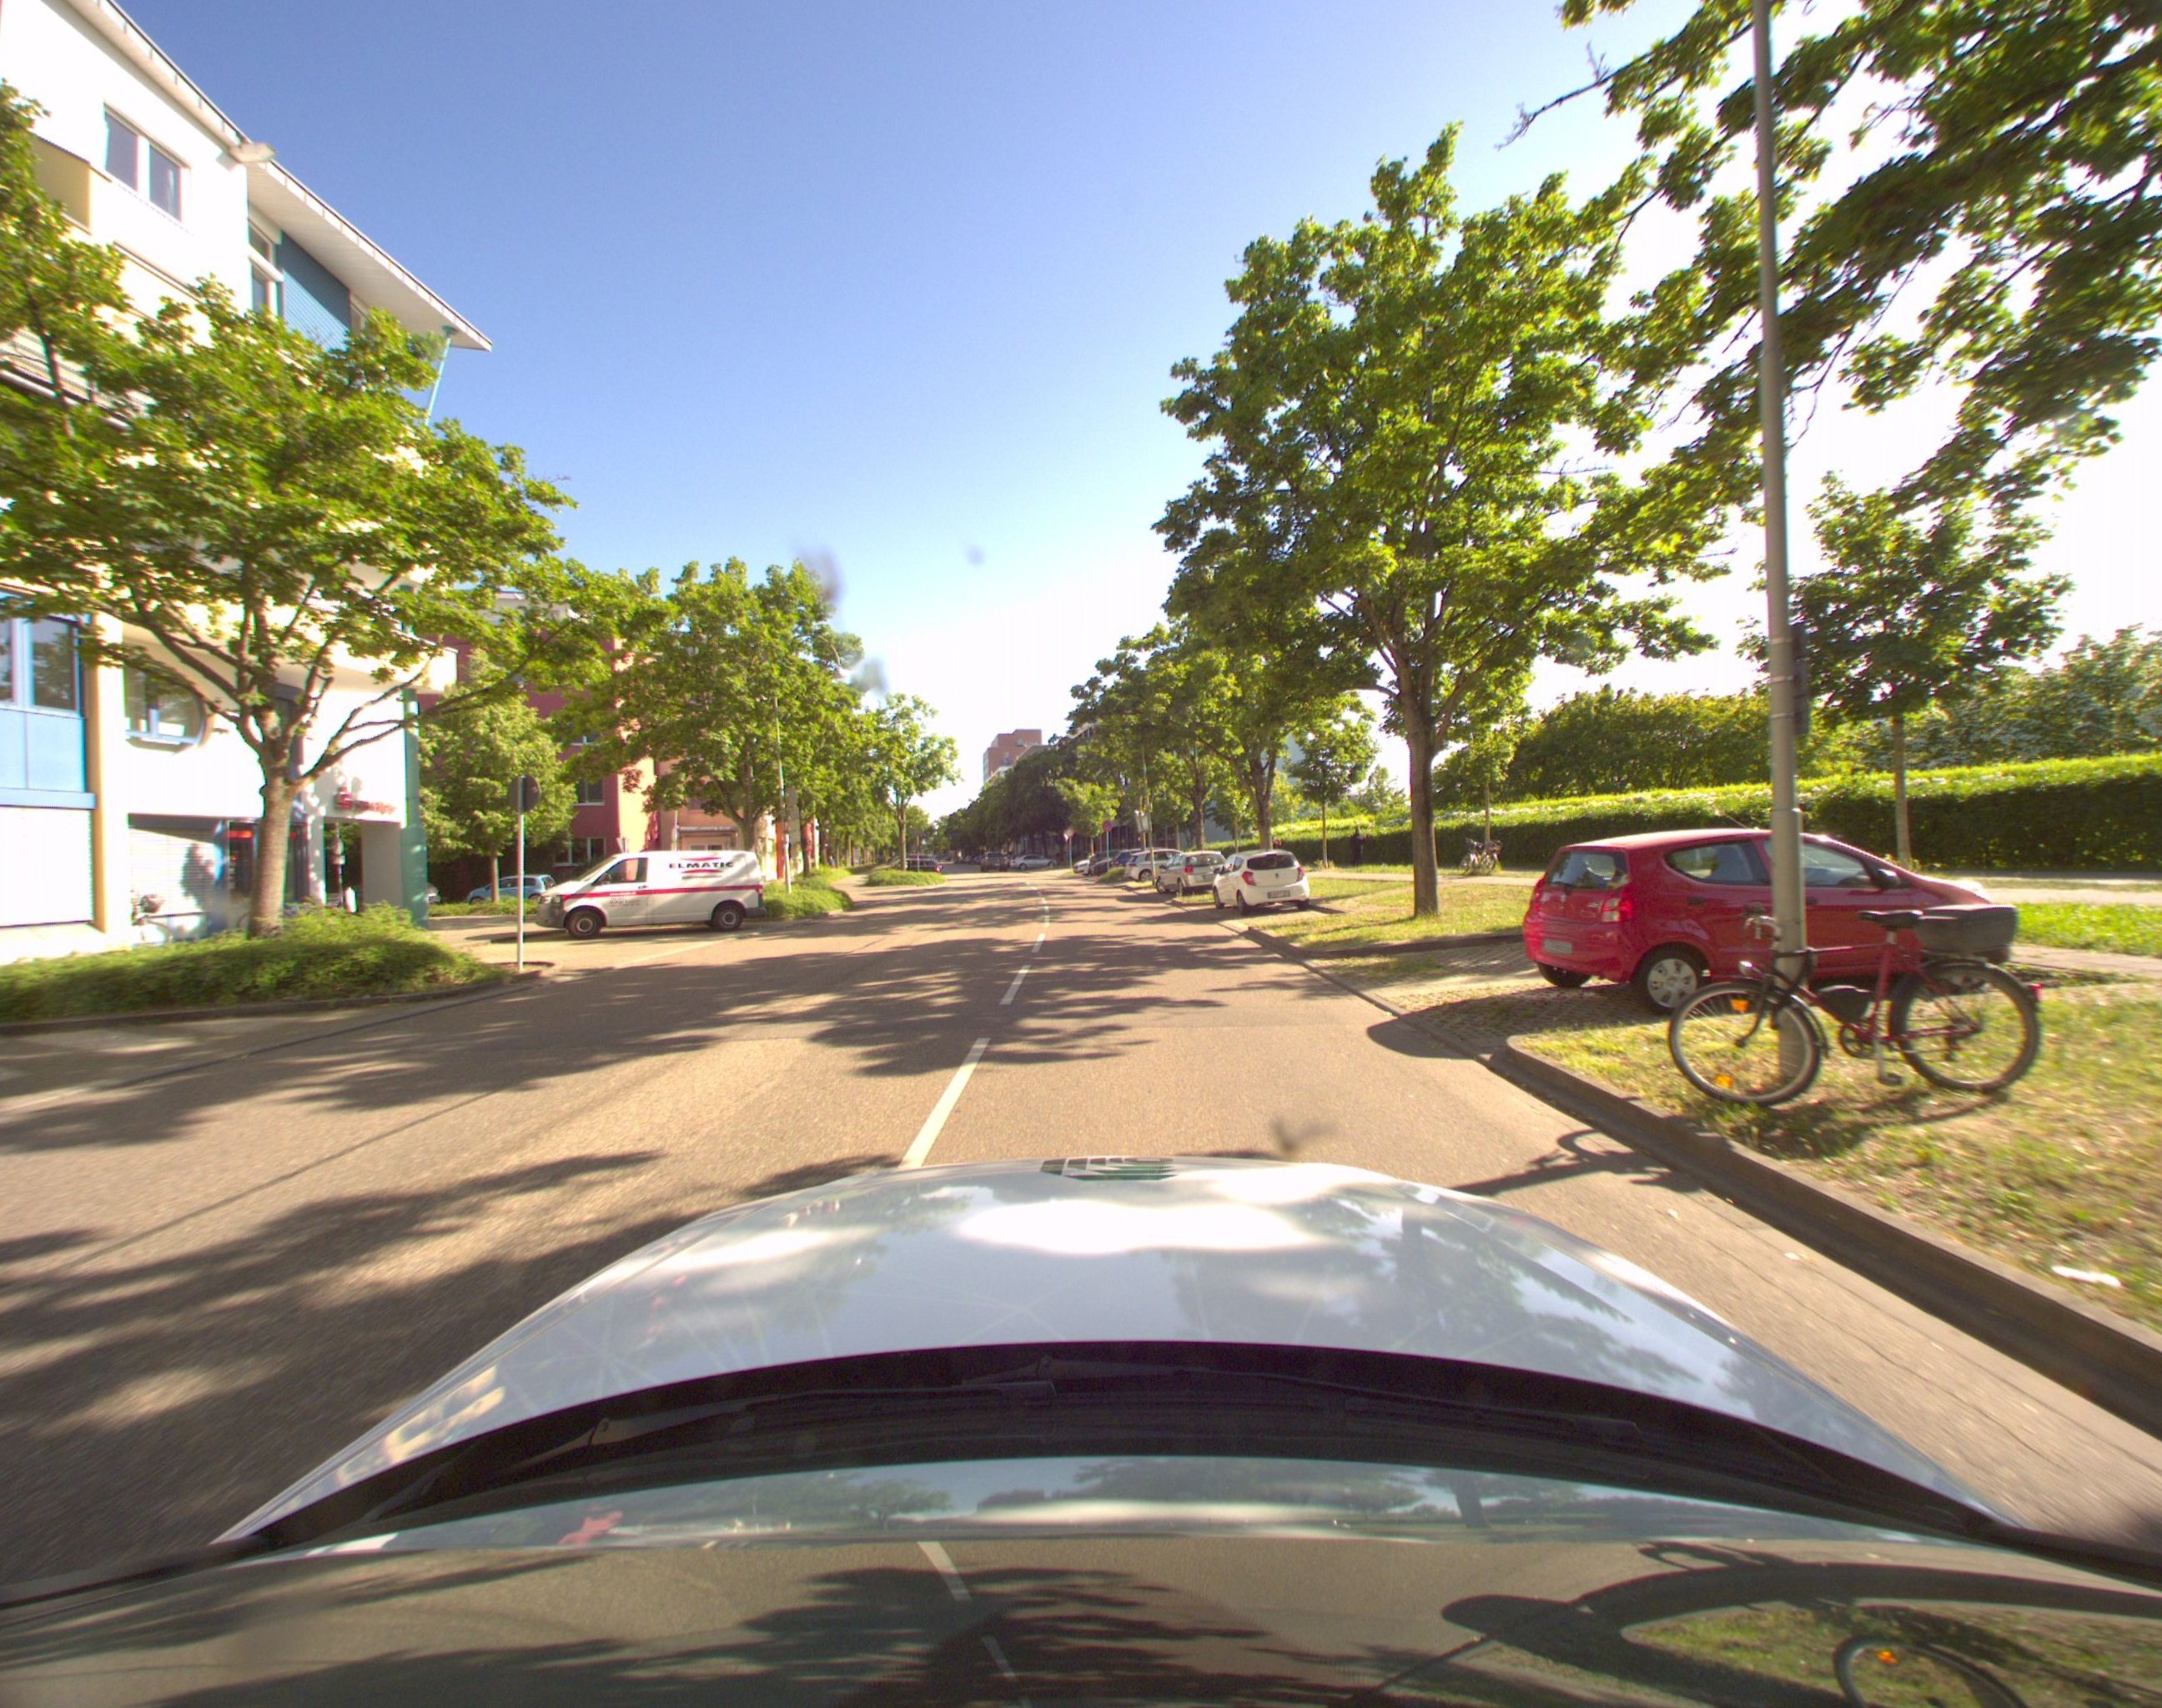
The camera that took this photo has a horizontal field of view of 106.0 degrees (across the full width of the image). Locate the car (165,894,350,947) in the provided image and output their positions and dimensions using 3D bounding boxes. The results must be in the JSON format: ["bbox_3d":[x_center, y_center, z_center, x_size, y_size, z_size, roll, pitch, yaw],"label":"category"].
[{"bbox_3d":[-29.600,2.347,29.435,4.239,1.594,1.992,-1,1,-13],"label":"car"}]

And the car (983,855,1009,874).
[{"bbox_3d":[-7.717,0.913,73.768,1.995,1.640,3.983,0,0,-12],"label":"car"}]

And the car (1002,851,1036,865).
[{"bbox_3d":[-7.335,0.461,96.366,3.754,1.493,1.607,-4,0,-19],"label":"car"}]

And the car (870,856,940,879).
[{"bbox_3d":[-11.247,0.860,52.216,4.261,1.423,1.734,0,0,-9],"label":"car"}]

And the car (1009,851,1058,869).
[{"bbox_3d":[-4.791,0.612,81.818,4.581,1.475,1.740,-4,0,-12],"label":"car"}]

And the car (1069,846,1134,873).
[{"bbox_3d":[1.374,0.388,55.001,3.959,1.515,1.691,-4,0,-18],"label":"car"}]

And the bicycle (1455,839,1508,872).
[{"bbox_3d":[11.155,0.060,22.709,0.348,0.866,1.398,-3,0,-23],"label":"bicycle"}]

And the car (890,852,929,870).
[{"bbox_3d":[-20.177,0.817,95.990,4.488,2.090,2.075,0,0,-10],"label":"car"}]

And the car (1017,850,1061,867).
[{"bbox_3d":[-4.467,0.488,86.760,4.513,1.542,1.916,-4,0,-9],"label":"car"}]

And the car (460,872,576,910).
[{"bbox_3d":[-26.669,1.735,38.737,3.999,1.450,1.929,-2,3,-13],"label":"car"}]

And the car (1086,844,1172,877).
[{"bbox_3d":[2.776,0.387,47.429,4.553,1.515,2.150,-4,0,-12],"label":"car"}]

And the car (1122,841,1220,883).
[{"bbox_3d":[4.026,0.353,36.765,4.083,1.429,1.639,-6,0,-5],"label":"car"}]

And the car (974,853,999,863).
[{"bbox_3d":[-15.749,0.659,136.088,3.951,1.514,1.806,-4,0,-11],"label":"car"}]

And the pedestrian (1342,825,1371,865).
[{"bbox_3d":[11.332,-0.372,33.519,0.723,1.588,0.850,-2,0,-10],"label":"pedestrian"}]

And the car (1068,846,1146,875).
[{"bbox_3d":[1.676,0.419,52.405,4.563,1.515,1.970,-4,0,-18],"label":"car"}]

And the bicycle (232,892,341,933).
[{"bbox_3d":[-19.037,1.393,19.562,1.812,0.872,0.486,-1,-1,-37],"label":"bicycle"}]

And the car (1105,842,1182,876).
[{"bbox_3d":[3.406,0.293,44.766,3.806,1.448,1.738,-6,0,-10],"label":"car"}]

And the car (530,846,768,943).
[{"bbox_3d":[-10.248,0.846,19.504,4.792,1.985,1.978,-1,1,-37],"label":"car"}]

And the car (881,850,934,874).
[{"bbox_3d":[-13.200,0.603,61.963,3.894,1.811,1.778,0,0,-12],"label":"car"}]

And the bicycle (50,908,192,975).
[{"bbox_3d":[-18.108,1.642,15.386,1.792,1.097,0.702,-3,0,1],"label":"bicycle"}]

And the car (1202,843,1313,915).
[{"bbox_3d":[4.320,0.567,20.456,1.640,1.493,3.760,-5,0,-4],"label":"car"}]

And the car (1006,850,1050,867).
[{"bbox_3d":[-5.876,0.480,90.050,4.525,1.542,1.911,-4,0,-16],"label":"car"}]

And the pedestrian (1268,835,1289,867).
[{"bbox_3d":[9.708,-0.162,40.096,0.606,1.542,0.934,-2,0,-10],"label":"pedestrian"}]

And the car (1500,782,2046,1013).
[{"bbox_3d":[5.958,0.349,7.344,3.422,1.544,1.628,-5,0,1],"label":"car"}]

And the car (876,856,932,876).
[{"bbox_3d":[-12.941,0.854,59.660,3.894,1.423,1.732,0,0,-12],"label":"car"}]

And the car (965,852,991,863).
[{"bbox_3d":[-18.945,0.681,149.896,4.359,1.704,1.803,-4,0,-15],"label":"car"}]

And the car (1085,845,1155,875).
[{"bbox_3d":[2.389,0.390,49.946,3.878,1.515,1.744,-4,0,-12],"label":"car"}]

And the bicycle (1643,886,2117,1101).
[{"bbox_3d":[4.098,0.727,4.309,1.739,0.991,0.532,-4,0,12],"label":"bicycle"}]

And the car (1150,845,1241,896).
[{"bbox_3d":[3.888,0.528,28.511,1.808,1.493,4.610,-5,0,-9],"label":"car"}]
